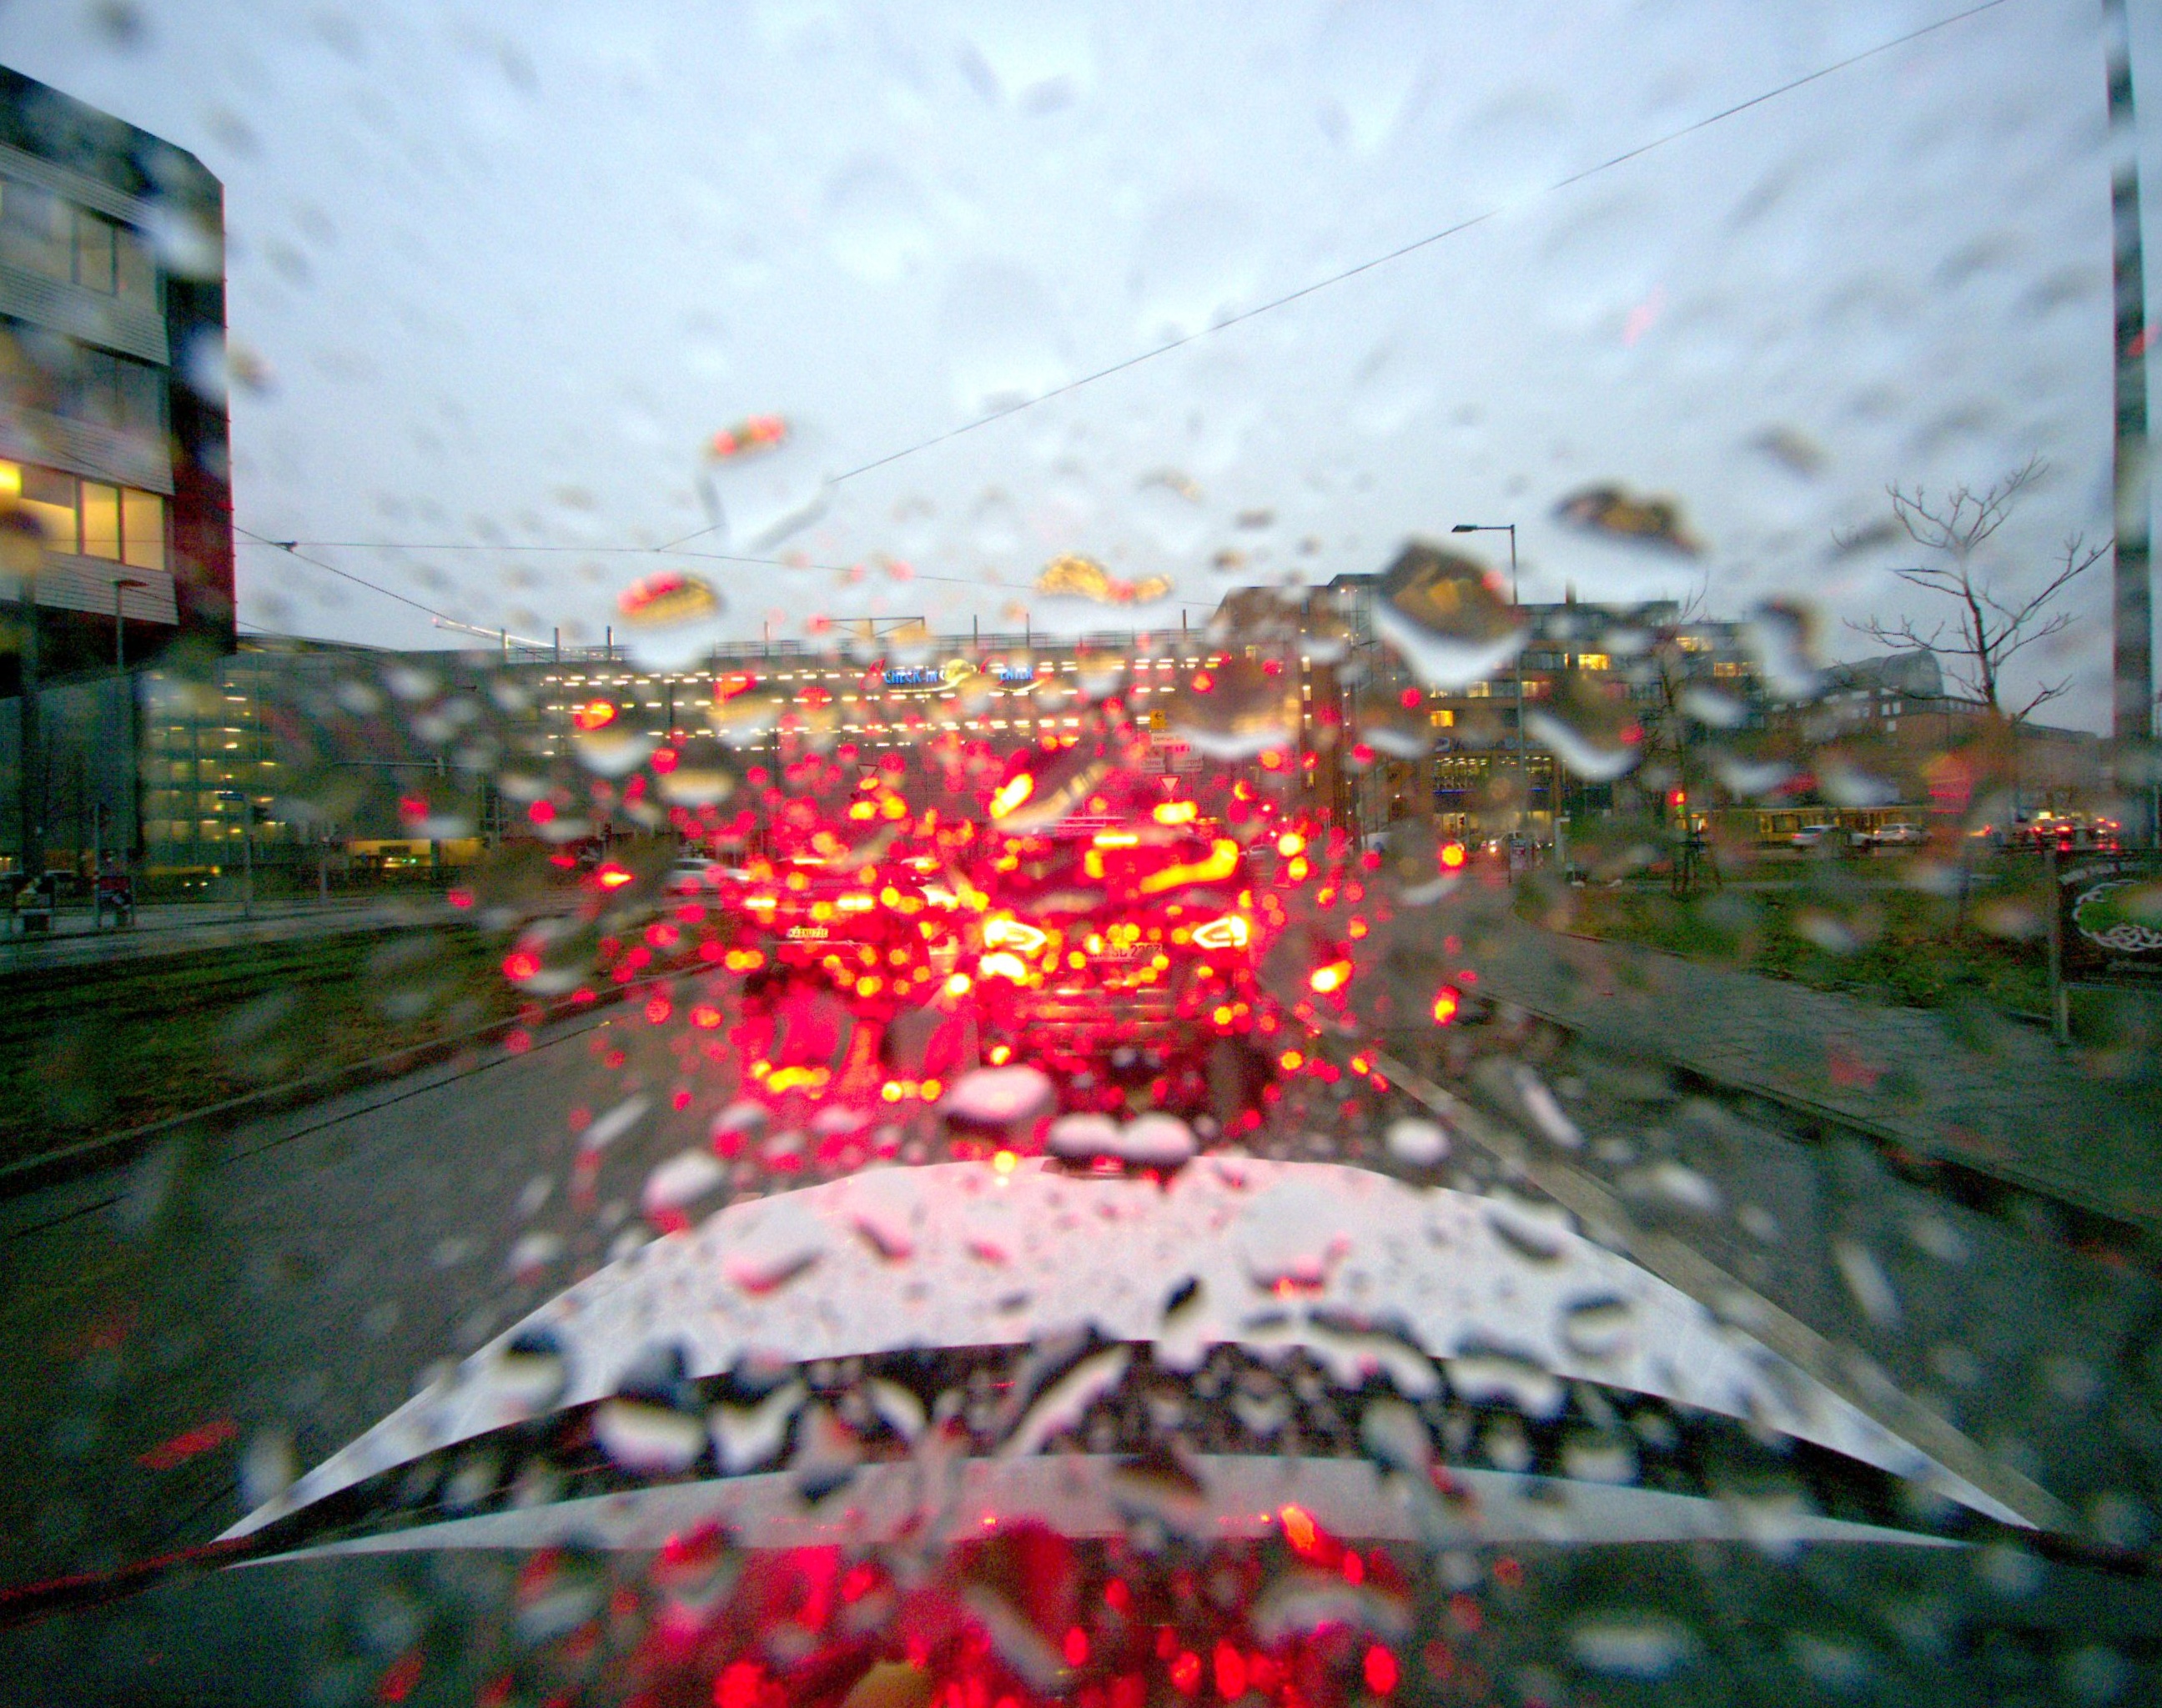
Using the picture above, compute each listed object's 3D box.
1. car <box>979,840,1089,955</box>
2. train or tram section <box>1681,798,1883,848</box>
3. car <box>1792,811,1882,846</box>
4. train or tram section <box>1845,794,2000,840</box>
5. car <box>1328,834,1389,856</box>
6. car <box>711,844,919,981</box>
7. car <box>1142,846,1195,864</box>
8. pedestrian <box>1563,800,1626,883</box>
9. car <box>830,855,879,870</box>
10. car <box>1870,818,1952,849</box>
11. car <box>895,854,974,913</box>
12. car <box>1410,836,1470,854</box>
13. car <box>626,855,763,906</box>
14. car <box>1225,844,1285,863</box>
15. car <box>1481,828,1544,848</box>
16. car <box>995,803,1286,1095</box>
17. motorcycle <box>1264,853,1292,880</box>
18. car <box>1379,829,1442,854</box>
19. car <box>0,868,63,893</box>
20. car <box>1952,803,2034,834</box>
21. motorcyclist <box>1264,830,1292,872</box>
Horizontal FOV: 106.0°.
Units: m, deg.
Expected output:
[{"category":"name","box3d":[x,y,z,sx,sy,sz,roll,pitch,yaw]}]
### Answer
[{"category":"car","box3d":[-0.776,0.647,13.999,1.632,1.697,3.667,-1,0,-3]},{"category":"train or tram section","box3d":[53.058,-2.380,61.491,16.626,3.260,2.326,-2,0,-14]},{"category":"car","box3d":[45.696,-1.491,49.226,4.362,2.013,1.990,0,0,-15]},{"category":"train or tram section","box3d":[67.204,-2.977,64.974,12.974,3.260,2.326,-2,0,-14]},{"category":"car","box3d":[22.683,-0.721,66.666,4.413,1.595,1.796,-2,0,-6]},{"category":"car","box3d":[-3.568,0.700,11.720,1.748,1.574,3.997,-2,0,-2]},{"category":"car","box3d":[7.388,0.055,68.849,4.209,1.390,1.796,-2,0,-6]},{"category":"pedestrian","box3d":[12.411,-0.303,19.721,1.159,1.924,0.904,1,0,25]},{"category":"car","box3d":[-19.617,0.724,70.577,3.751,1.165,1.678,-2,0,-4]},{"category":"car","box3d":[56.561,-1.384,55.515,3.985,2.013,1.994,0,0,-9]},{"category":"car","box3d":[-3.461,0.643,19.844,1.538,1.251,4.059,-1,0,-6]},{"category":"car","box3d":[29.911,-0.732,67.836,4.209,1.390,1.796,-2,0,-6]},{"category":"car","box3d":[-15.800,1.061,33.518,4.666,1.850,1.826,-2,-1,-8]},{"category":"car","box3d":[14.150,-0.023,66.274,4.413,1.390,1.796,-2,0,-6]},{"category":"car","box3d":[36.402,-1.327,68.795,4.425,1.534,1.796,-2,0,-6]},{"category":"car","box3d":[0.346,0.562,7.000,1.730,1.738,4.246,1,0,-1]},{"category":"motorcycle","box3d":[7.454,0.475,30.854,0.848,0.971,1.585,-2,0,7]},{"category":"car","box3d":[28.651,-1.061,70.854,4.831,2.000,1.796,-2,0,-5]},{"category":"car","box3d":[-86.988,2.153,66.474,5.068,1.962,1.888,1,0,-4]},{"category":"car","box3d":[64.315,-2.479,57.456,4.945,2.013,1.988,0,0,-18]},{"category":"motorcyclist","box3d":[7.431,-0.099,30.798,0.863,1.534,1.110,-2,0,7]}]
